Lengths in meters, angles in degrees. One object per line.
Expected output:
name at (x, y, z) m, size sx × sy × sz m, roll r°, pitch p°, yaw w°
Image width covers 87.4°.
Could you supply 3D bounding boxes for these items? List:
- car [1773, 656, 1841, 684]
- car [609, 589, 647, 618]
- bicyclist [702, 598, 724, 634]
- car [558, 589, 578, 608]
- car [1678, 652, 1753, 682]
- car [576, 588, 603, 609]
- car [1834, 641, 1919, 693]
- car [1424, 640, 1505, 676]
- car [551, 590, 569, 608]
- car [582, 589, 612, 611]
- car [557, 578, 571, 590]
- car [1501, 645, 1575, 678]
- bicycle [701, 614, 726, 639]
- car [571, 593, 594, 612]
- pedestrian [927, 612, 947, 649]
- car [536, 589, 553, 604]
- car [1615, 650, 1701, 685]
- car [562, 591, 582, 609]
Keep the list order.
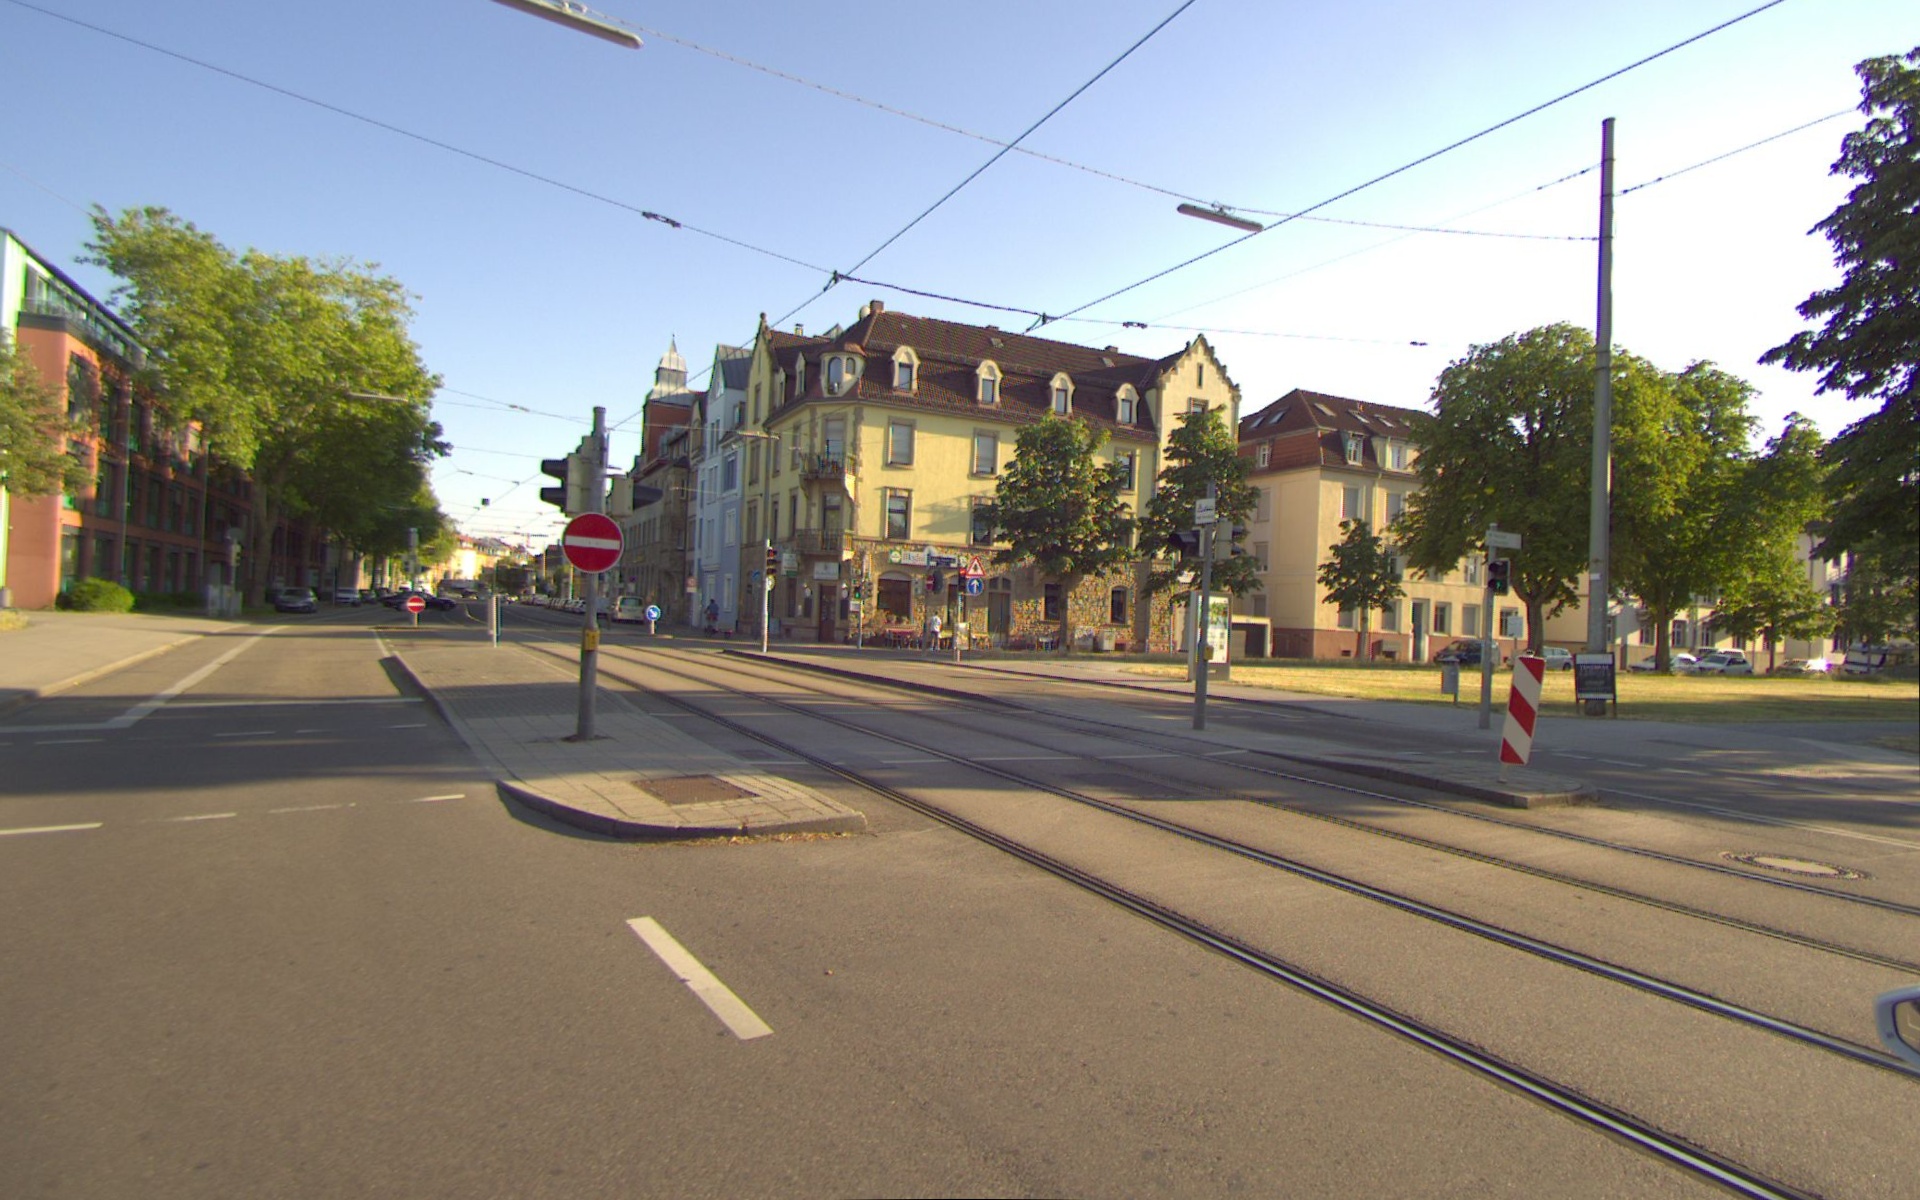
car at (63.371, 5.226, 75.145) m, size 4.506 × 1.680 × 1.989 m, roll 4°, pitch 1°, yaw -23°
car at (-24.077, 0.213, 72.852) m, size 2.006 × 1.759 × 3.752 m, roll 4°, pitch 1°, yaw -27°
bicyclist at (-12.410, 0.807, 50.449) m, size 0.862 × 1.746 × 1.143 m, roll 4°, pitch -2°, yaw -19°
car at (-47.124, -0.200, 120.626) m, size 1.801 × 2.040 × 3.934 m, roll 4°, pitch 1°, yaw -27°
car at (46.194, 4.121, 61.408) m, size 4.361 × 1.575 × 1.789 m, roll 3°, pitch 2°, yaw -26°
car at (-37.006, -0.162, 100.311) m, size 1.975 × 1.693 × 3.752 m, roll 4°, pitch 1°, yaw -27°
car at (64.172, 4.633, 69.508) m, size 7.745 × 3.172 × 2.385 m, roll 3°, pitch 2°, yaw -24°
car at (30.498, 3.522, 60.744) m, size 4.251 × 1.759 × 1.989 m, roll 4°, pitch 1°, yaw -23°
car at (-51.669, -0.143, 129.809) m, size 1.752 × 2.040 × 3.800 m, roll 4°, pitch 1°, yaw -27°
car at (-32.399, -0.027, 89.562) m, size 1.975 × 1.693 × 3.752 m, roll 4°, pitch 1°, yaw -27°
car at (-56.589, -2.311, 143.466) m, size 1.530 × 1.483 × 3.279 m, roll 4°, pitch 1°, yaw -27°
car at (36.323, 3.877, 63.158) m, size 3.944 × 1.681 × 1.989 m, roll 4°, pitch 1°, yaw -23°
bicycle at (-12.364, 1.311, 50.243) m, size 0.862 × 1.176 × 3.070 m, roll 4°, pitch -2°, yaw -19°
car at (-39.606, 0.292, 105.395) m, size 1.812 × 1.691 × 3.921 m, roll 4°, pitch 1°, yaw -27°
pedestrian at (-1.098, 1.447, 47.736) m, size 0.674 × 1.646 × 0.613 m, roll 4°, pitch 1°, yaw -26°
car at (-55.249, -0.468, 133.493) m, size 1.755 × 1.693 × 3.752 m, roll 4°, pitch 1°, yaw -27°
car at (41.077, 3.964, 59.094) m, size 4.506 × 1.680 × 1.989 m, roll 4°, pitch 1°, yaw -23°
car at (-44.646, -0.012, 115.582) m, size 1.777 × 1.855 × 3.765 m, roll 4°, pitch 1°, yaw -27°
